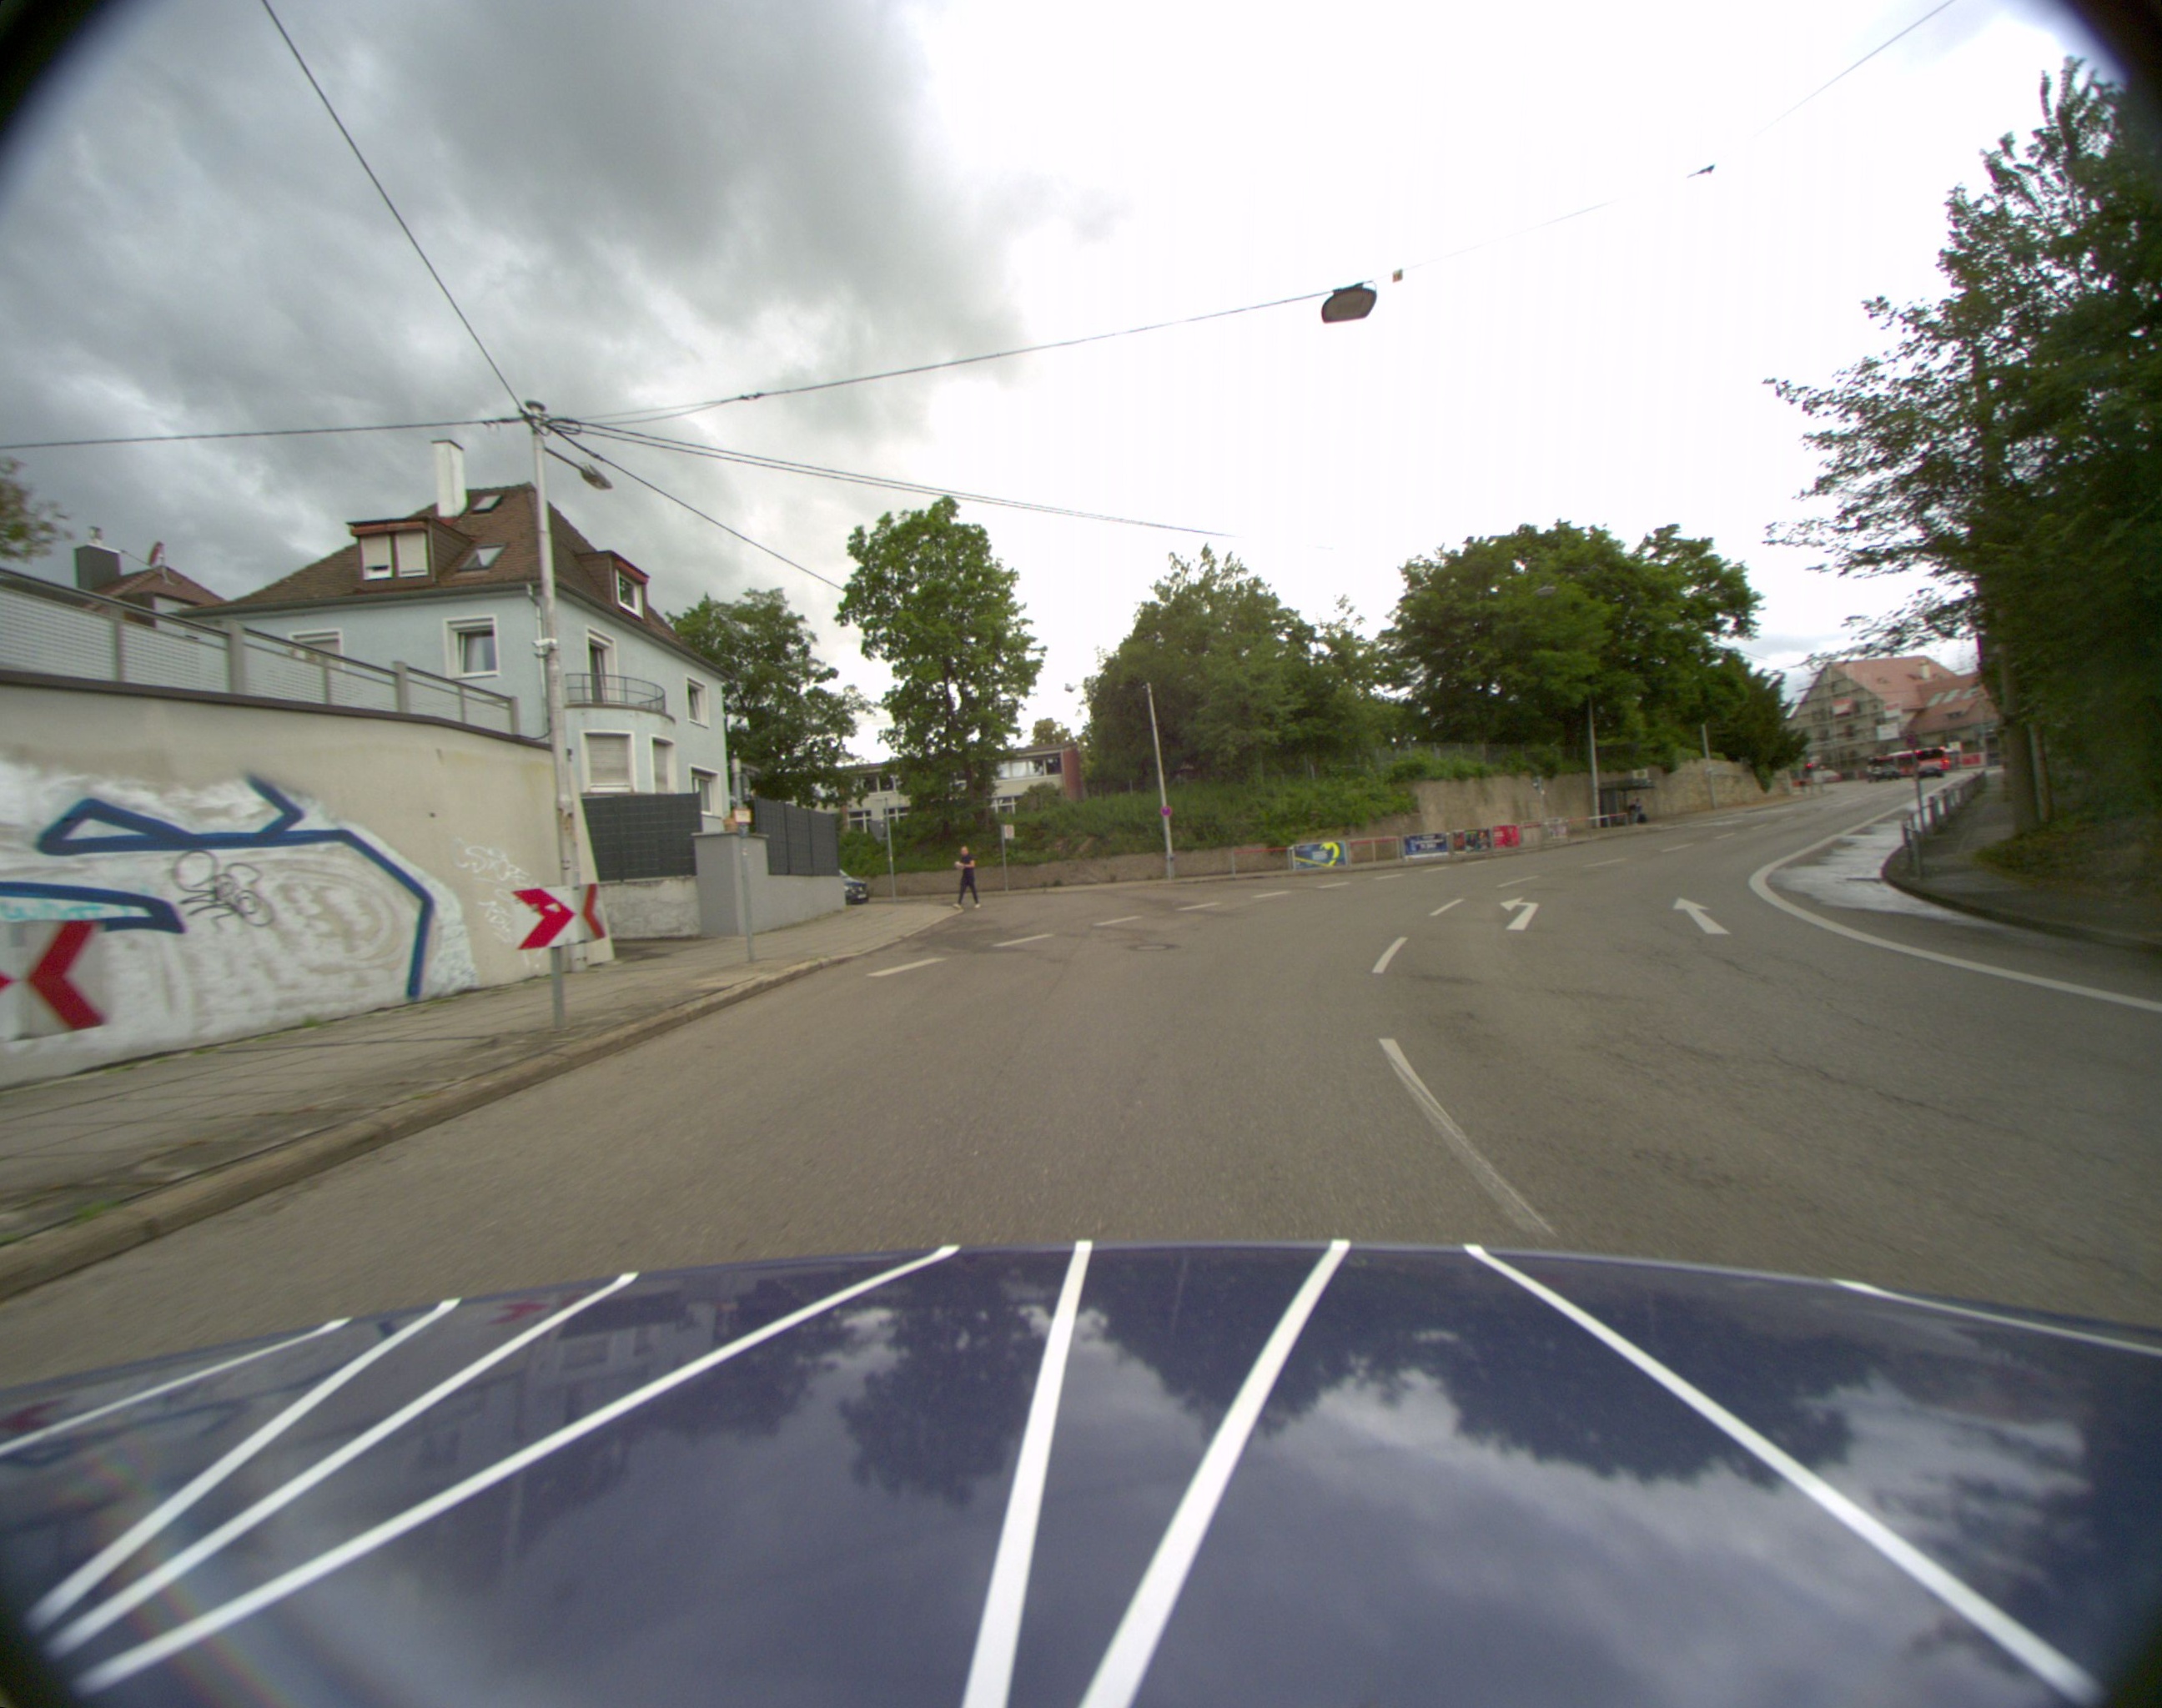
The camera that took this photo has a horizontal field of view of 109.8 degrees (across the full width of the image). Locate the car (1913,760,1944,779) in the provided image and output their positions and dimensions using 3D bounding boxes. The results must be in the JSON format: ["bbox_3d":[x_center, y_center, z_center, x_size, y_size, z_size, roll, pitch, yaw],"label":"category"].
[{"bbox_3d":[85.013,-8.474,76.189,3.886,1.706,1.852,-6,3,-39],"label":"car"}]

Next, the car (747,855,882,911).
[{"bbox_3d":[-10.616,1.154,30.321,4.830,1.853,1.954,-4,-1,19],"label":"car"}]

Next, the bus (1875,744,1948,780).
[{"bbox_3d":[99.810,-11.008,91.514,2.905,3.617,9.496,-3,2,29],"label":"bus"}]

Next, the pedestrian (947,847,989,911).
[{"bbox_3d":[-3.344,0.743,22.573,0.986,1.817,0.573,-4,1,-44],"label":"pedestrian"}]

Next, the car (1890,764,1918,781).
[{"bbox_3d":[95.014,-9.427,87.696,3.886,1.706,1.852,-6,3,-39],"label":"car"}]

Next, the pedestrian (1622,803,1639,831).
[{"bbox_3d":[33.485,-2.240,46.291,0.717,1.631,0.742,-3,3,43],"label":"pedestrian"}]
